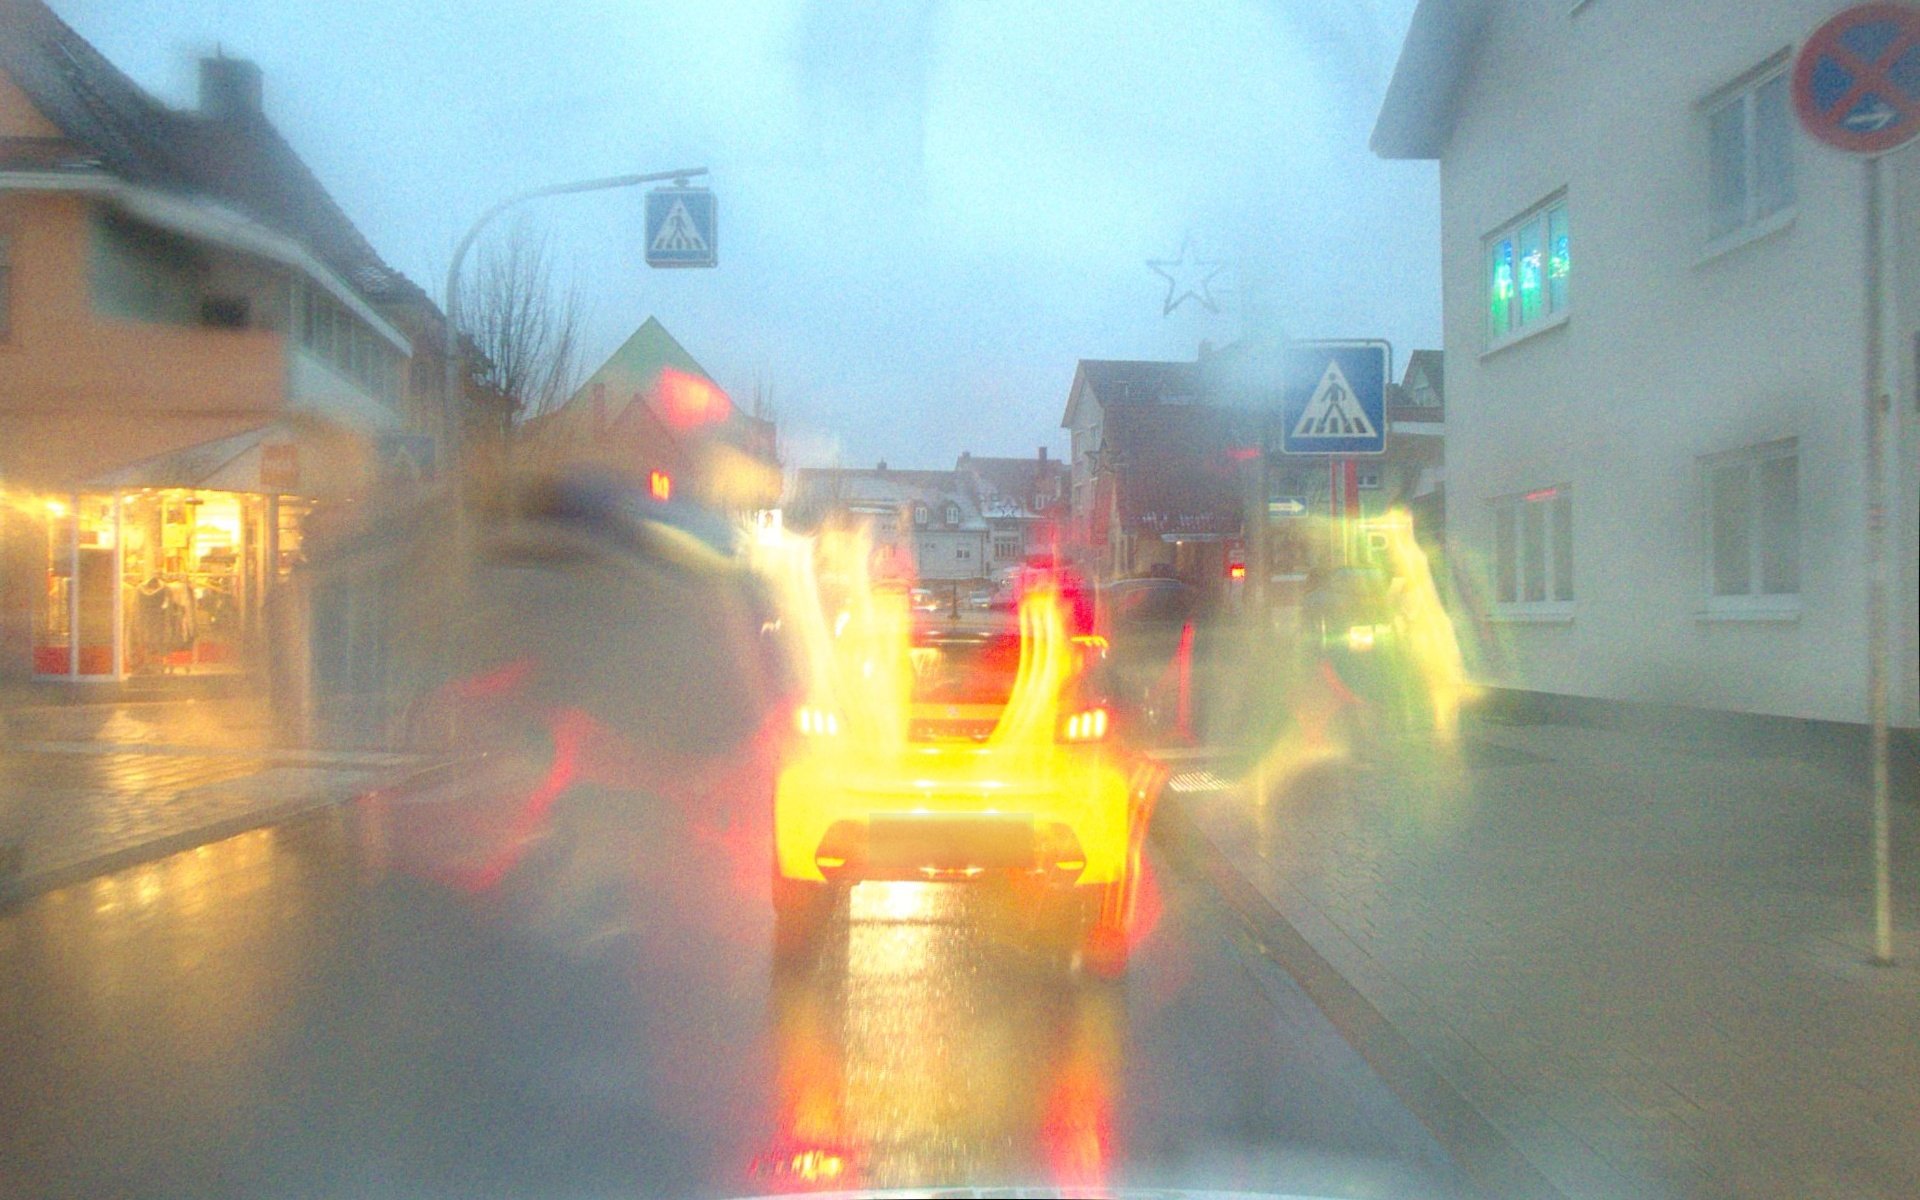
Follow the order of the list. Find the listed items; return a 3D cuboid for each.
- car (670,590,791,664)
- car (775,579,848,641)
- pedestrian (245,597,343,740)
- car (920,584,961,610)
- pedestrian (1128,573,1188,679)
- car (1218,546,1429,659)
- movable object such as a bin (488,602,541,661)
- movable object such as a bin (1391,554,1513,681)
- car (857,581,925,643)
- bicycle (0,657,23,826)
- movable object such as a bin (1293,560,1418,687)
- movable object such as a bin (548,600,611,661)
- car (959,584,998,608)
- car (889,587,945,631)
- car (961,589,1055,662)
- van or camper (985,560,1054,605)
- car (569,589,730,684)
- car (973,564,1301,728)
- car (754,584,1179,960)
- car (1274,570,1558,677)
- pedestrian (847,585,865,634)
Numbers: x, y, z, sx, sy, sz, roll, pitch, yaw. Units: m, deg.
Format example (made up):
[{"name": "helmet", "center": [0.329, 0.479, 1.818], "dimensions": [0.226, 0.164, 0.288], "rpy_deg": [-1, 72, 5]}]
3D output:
[{"name": "car", "center": [-5.124, 0.573, 37.579], "dimensions": [1.952, 1.549, 4.978], "rpy_deg": [0, 0, 1]}, {"name": "car", "center": [-4.512, 0.264, 50.759], "dimensions": [2.044, 1.823, 5.021], "rpy_deg": [0, 1, -3]}, {"name": "pedestrian", "center": [-8.125, 0.820, 20.221], "dimensions": [0.810, 1.687, 1.096], "rpy_deg": [1, 0, -6]}, {"name": "car", "center": [-1.460, -0.241, 122.401], "dimensions": [1.961, 1.795, 4.332], "rpy_deg": [-2, 1, -15]}, {"name": "pedestrian", "center": [3.683, 0.474, 30.818], "dimensions": [0.947, 1.922, 1.005], "rpy_deg": [1, 0, -2]}, {"name": "car", "center": [7.326, 0.051, 33.647], "dimensions": [4.003, 2.085, 2.002], "rpy_deg": [-2, 0, 9]}, {"name": "movable object such as a bin", "center": [-10.592, 0.733, 39.365], "dimensions": [1.129, 1.378, 0.850], "rpy_deg": [0, 0, -9]}, {"name": "movable object such as a bin", "center": [6.832, 0.233, 23.053], "dimensions": [1.259, 1.672, 1.185], "rpy_deg": [-3, 0, -2]}, {"name": "car", "center": [-2.141, 0.337, 52.514], "dimensions": [1.953, 1.735, 4.966], "rpy_deg": [2, 1, -1]}, {"name": "bicycle", "center": [-6.393, 0.966, 10.434], "dimensions": [0.319, 1.079, 1.738], "rpy_deg": [-5, 3, -15]}, {"name": "movable object such as a bin", "center": [5.497, 0.316, 23.097], "dimensions": [1.365, 1.672, 1.261], "rpy_deg": [-2, 0, -2]}, {"name": "movable object such as a bin", "center": [-9.089, 0.727, 39.551], "dimensions": [1.315, 1.377, 0.887], "rpy_deg": [-3, 0, -9]}, {"name": "car", "center": [1.346, -0.286, 122.733], "dimensions": [1.959, 1.639, 4.160], "rpy_deg": [-2, -1, -13]}, {"name": "car", "center": [-1.905, 0.373, 71.882], "dimensions": [1.915, 1.573, 4.409], "rpy_deg": [3, 3, -8]}, {"name": "car", "center": [1.096, 0.581, 39.291], "dimensions": [1.953, 1.616, 3.998], "rpy_deg": [1, 0, -2]}, {"name": "van or camper", "center": [4.399, -1.283, 123.479], "dimensions": [2.614, 3.100, 6.691], "rpy_deg": [-4, 1, -21]}, {"name": "car", "center": [-5.578, 0.615, 30.326], "dimensions": [1.952, 1.585, 4.621], "rpy_deg": [1, 0, 1]}, {"name": "car", "center": [2.115, 0.471, 18.868], "dimensions": [1.960, 1.653, 3.983], "rpy_deg": [1, 0, 37]}, {"name": "car", "center": [0.075, 0.727, 8.993], "dimensions": [1.777, 1.560, 4.001], "rpy_deg": [1, 0, 1]}, {"name": "car", "center": [6.964, 0.366, 25.589], "dimensions": [3.903, 1.512, 1.913], "rpy_deg": [-1, -1, 4]}, {"name": "pedestrian", "center": [-3.409, 0.310, 54.406], "dimensions": [0.562, 1.613, 0.530], "rpy_deg": [0, 1, -1]}]
